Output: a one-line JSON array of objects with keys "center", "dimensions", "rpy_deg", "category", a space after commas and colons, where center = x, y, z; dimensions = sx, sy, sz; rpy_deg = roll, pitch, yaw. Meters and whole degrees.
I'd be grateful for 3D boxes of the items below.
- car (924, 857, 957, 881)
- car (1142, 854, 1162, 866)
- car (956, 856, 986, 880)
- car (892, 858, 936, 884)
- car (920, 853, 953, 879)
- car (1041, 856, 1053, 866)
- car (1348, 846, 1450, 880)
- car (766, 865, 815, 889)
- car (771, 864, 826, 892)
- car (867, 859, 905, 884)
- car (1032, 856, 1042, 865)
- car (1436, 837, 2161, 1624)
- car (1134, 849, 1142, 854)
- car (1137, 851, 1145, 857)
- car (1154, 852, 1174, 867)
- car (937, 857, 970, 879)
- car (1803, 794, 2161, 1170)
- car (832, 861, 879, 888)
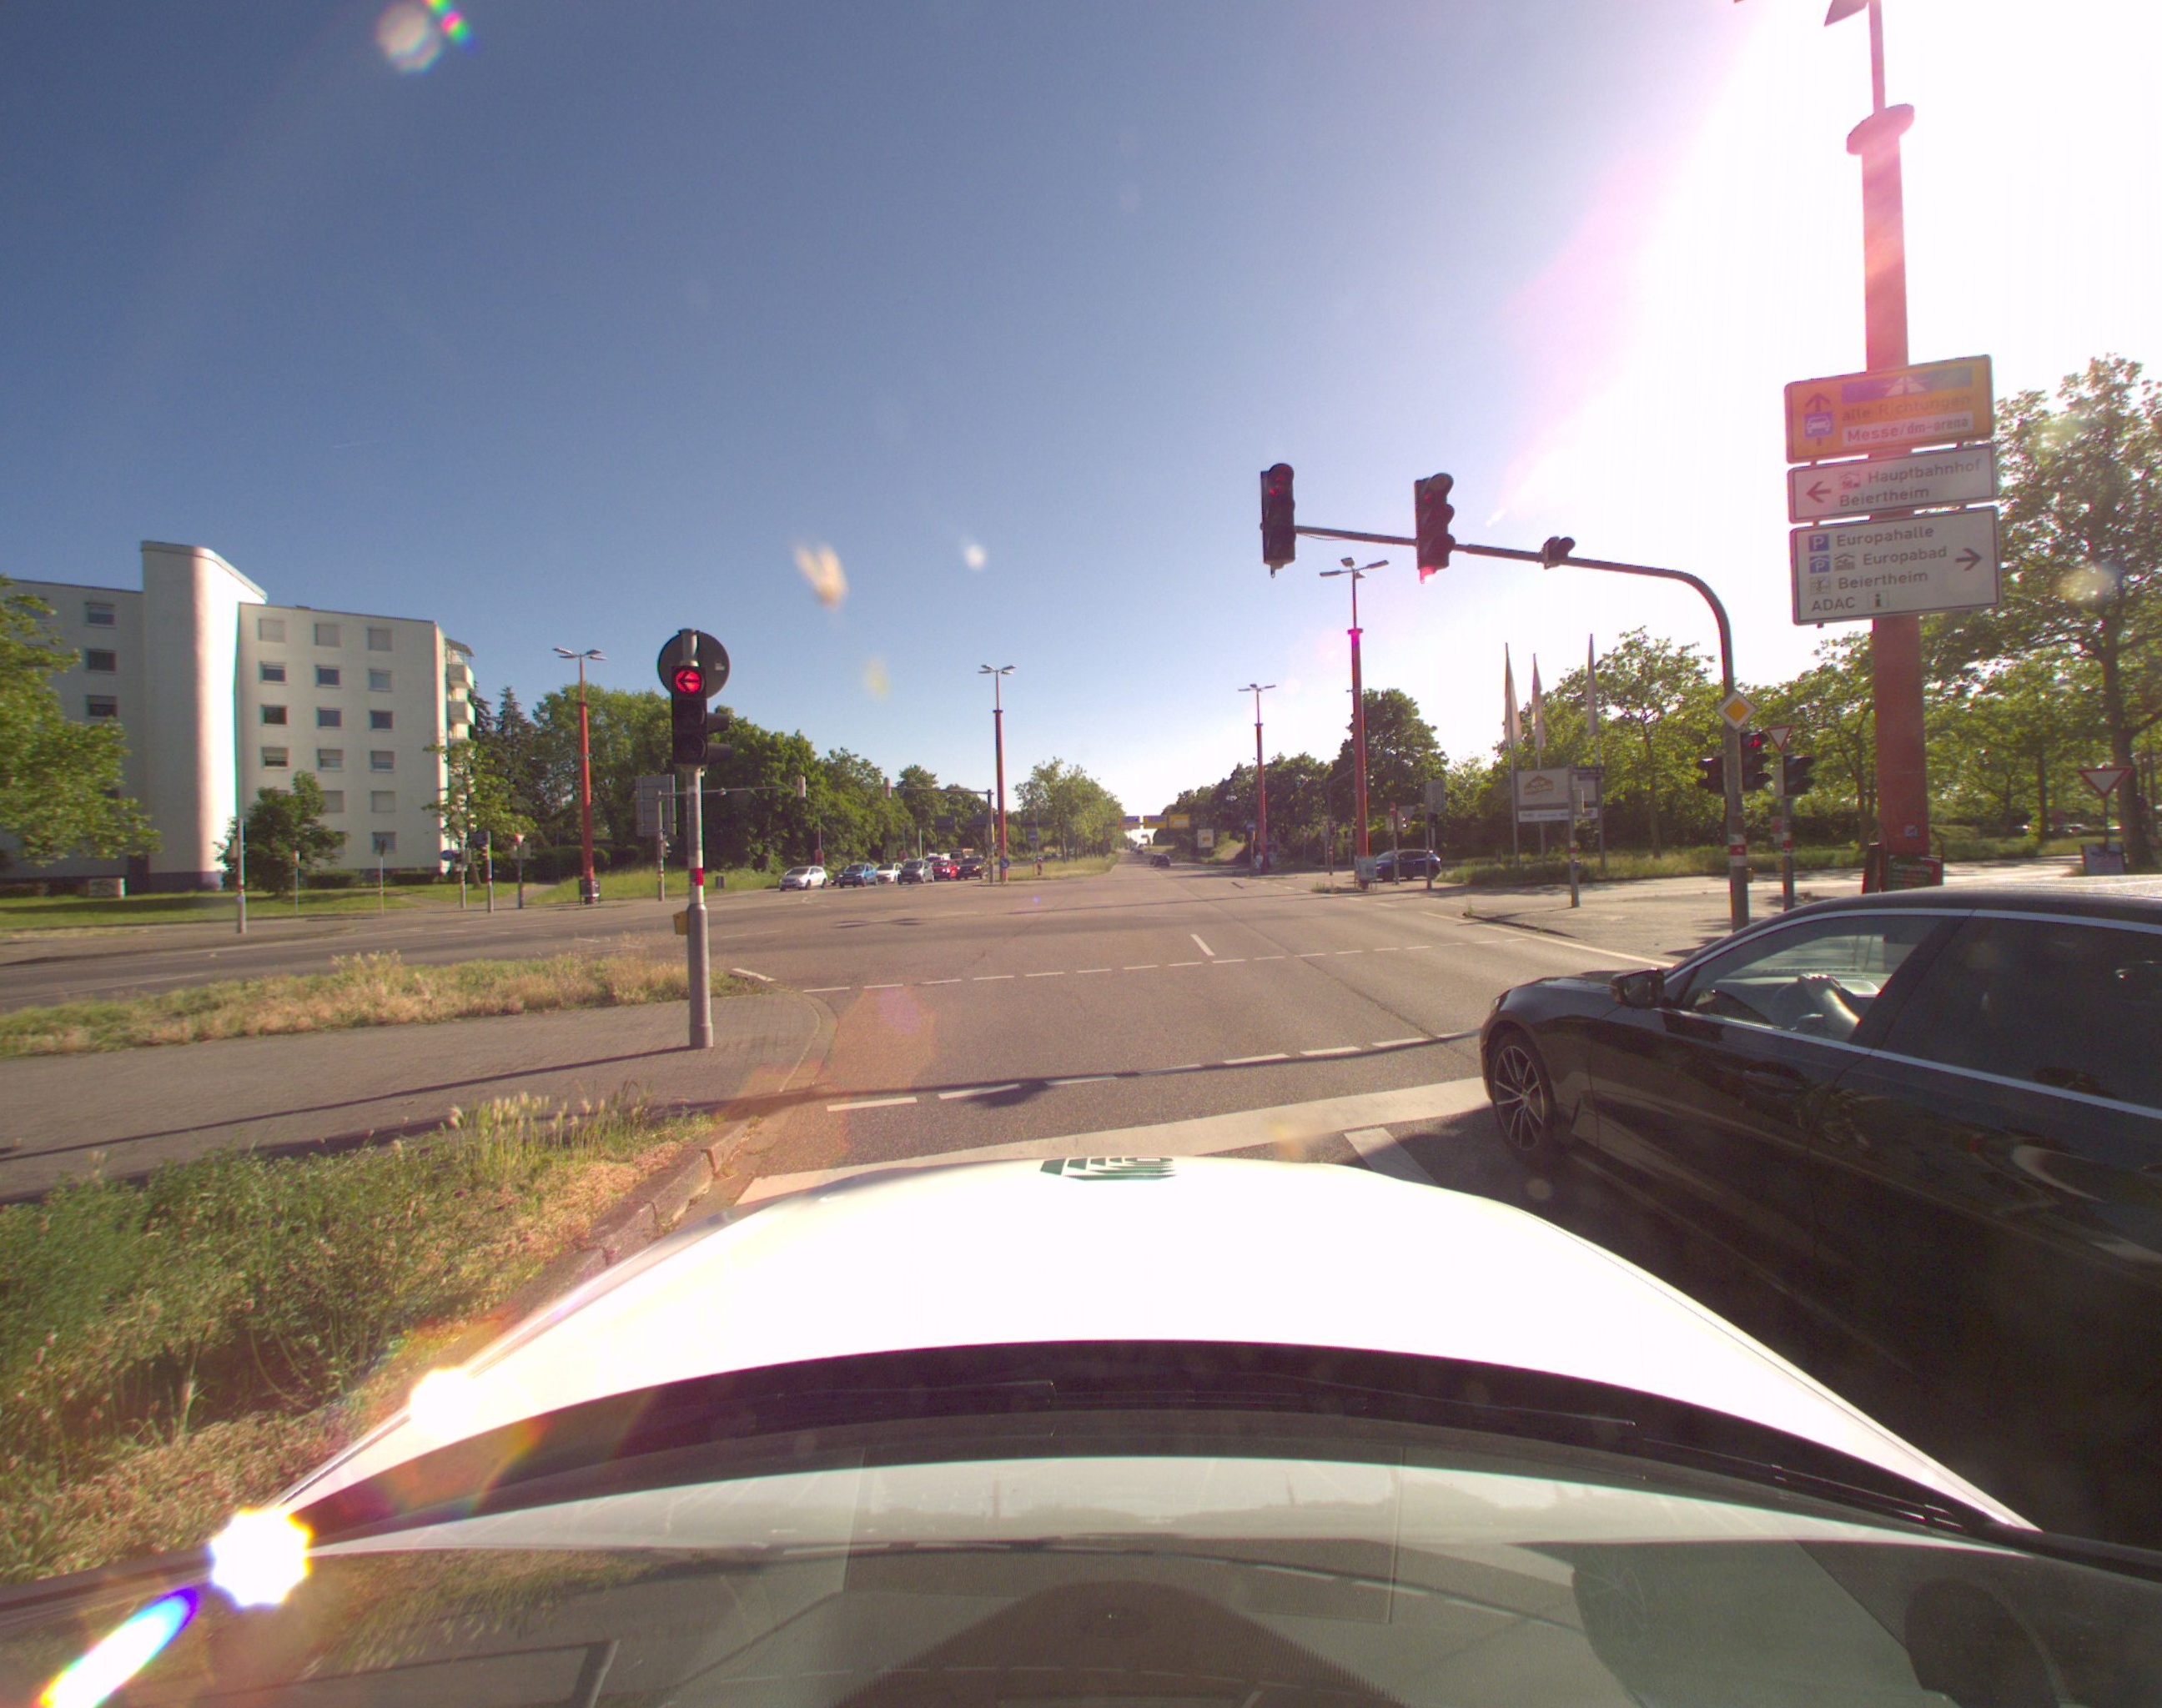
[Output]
[{"center": [-10.105, 1.049, 58.860], "dimensions": [1.991, 1.573, 4.112], "rpy_deg": [-2, 0, -6], "category": "car"}, {"center": [9.711, 0.784, 111.602], "dimensions": [2.153, 1.573, 4.580], "rpy_deg": [-2, 0, -1], "category": "car"}, {"center": [-7.567, 0.941, 56.478], "dimensions": [1.874, 1.573, 4.112], "rpy_deg": [-2, 0, -6], "category": "car"}, {"center": [-10.733, 1.048, 52.569], "dimensions": [1.988, 1.573, 4.119], "rpy_deg": [-2, 0, -1], "category": "car"}, {"center": [-12.737, 1.056, 71.975], "dimensions": [2.055, 2.193, 4.377], "rpy_deg": [-2, 0, 0], "category": "car"}, {"center": [-5.393, 1.095, 130.623], "dimensions": [1.872, 1.573, 4.117], "rpy_deg": [-2, 0, -2], "category": "car"}, {"center": [14.953, 0.407, 38.352], "dimensions": [4.279, 1.428, 1.872], "rpy_deg": [-2, 0, -18], "category": "car"}, {"center": [-21.349, 1.673, 59.993], "dimensions": [1.987, 1.598, 4.221], "rpy_deg": [-2, 0, 0], "category": "car"}, {"center": [-17.694, 1.469, 51.169], "dimensions": [1.987, 1.573, 4.120], "rpy_deg": [-2, 0, 0], "category": "car"}, {"center": [-13.740, 1.218, 57.512], "dimensions": [1.991, 1.573, 4.112], "rpy_deg": [-3, 0, -6], "category": "car"}, {"center": [-8.347, 1.251, 155.730], "dimensions": [1.872, 1.573, 4.117], "rpy_deg": [-2, 0, -2], "category": "car"}, {"center": [2.956, 0.666, 2.363], "dimensions": [1.986, 1.394, 4.479], "rpy_deg": [-2, 0, 2], "category": "car"}, {"center": [17.613, -0.852, 253.109], "dimensions": [2.151, 1.573, 4.281], "rpy_deg": [-2, 0, 1], "category": "car"}, {"center": [16.721, -0.098, 226.958], "dimensions": [2.149, 1.573, 4.285], "rpy_deg": [-2, 0, 4], "category": "car"}, {"center": [9.446, 0.627, 92.758], "dimensions": [2.149, 1.573, 4.286], "rpy_deg": [-2, 0, 5], "category": "car"}, {"center": [-10.068, 1.095, 64.642], "dimensions": [1.988, 1.573, 4.118], "rpy_deg": [-2, 0, -1], "category": "car"}, {"center": [5.803, 0.561, 3.252], "dimensions": [1.959, 1.686, 4.479], "rpy_deg": [-1, 0, 2], "category": "car"}, {"center": [-14.237, 1.286, 51.629], "dimensions": [1.989, 1.573, 4.116], "rpy_deg": [-2, 0, -3], "category": "car"}]
